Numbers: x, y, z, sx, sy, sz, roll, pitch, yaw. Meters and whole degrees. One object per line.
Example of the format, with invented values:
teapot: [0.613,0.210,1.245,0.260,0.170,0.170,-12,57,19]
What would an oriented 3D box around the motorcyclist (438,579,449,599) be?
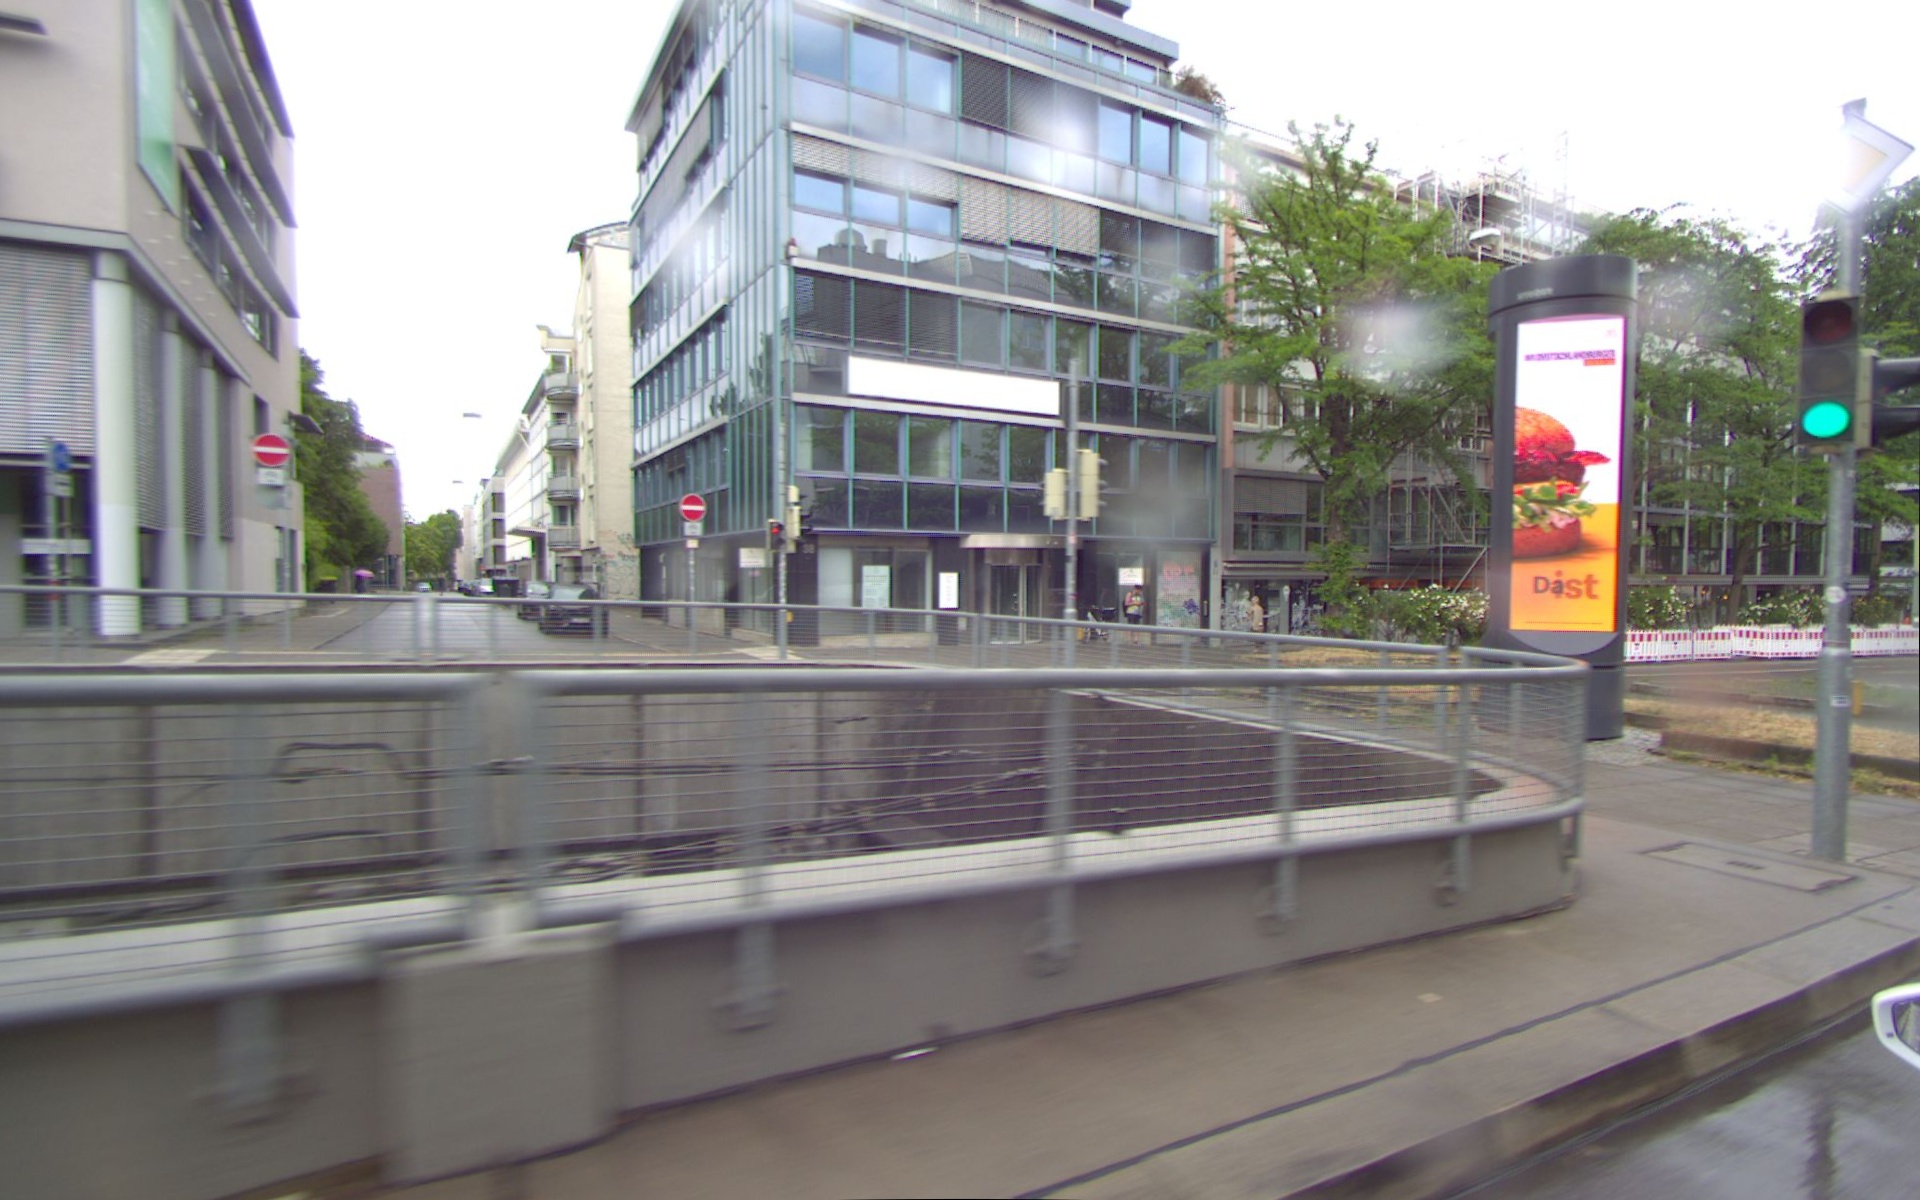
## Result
motorcyclist: [-48.776,-1.042,94.902,0.850,1.832,1.008,2,1,-29]

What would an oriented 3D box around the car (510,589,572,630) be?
car: [-16.976,0.372,40.594,1.777,1.578,3.966,1,0,-31]

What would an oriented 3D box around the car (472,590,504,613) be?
car: [-33.894,0.088,72.072,1.777,1.578,3.967,1,0,-30]

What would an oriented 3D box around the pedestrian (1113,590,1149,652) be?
pedestrian: [5.042,0.616,29.640,0.688,1.765,0.691,1,1,-35]

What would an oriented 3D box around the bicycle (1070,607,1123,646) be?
bicycle: [3.961,0.774,29.134,1.544,1.100,0.444,1,0,-26]

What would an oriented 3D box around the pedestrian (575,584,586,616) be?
pedestrian: [-20.067,0.005,53.100,0.443,1.664,0.326,1,1,-35]

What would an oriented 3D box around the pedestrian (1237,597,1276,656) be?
pedestrian: [9.105,0.823,30.839,0.867,1.765,0.689,1,1,-32]

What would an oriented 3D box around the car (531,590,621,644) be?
car: [-12.141,0.489,31.639,1.977,1.578,3.966,1,0,-31]
